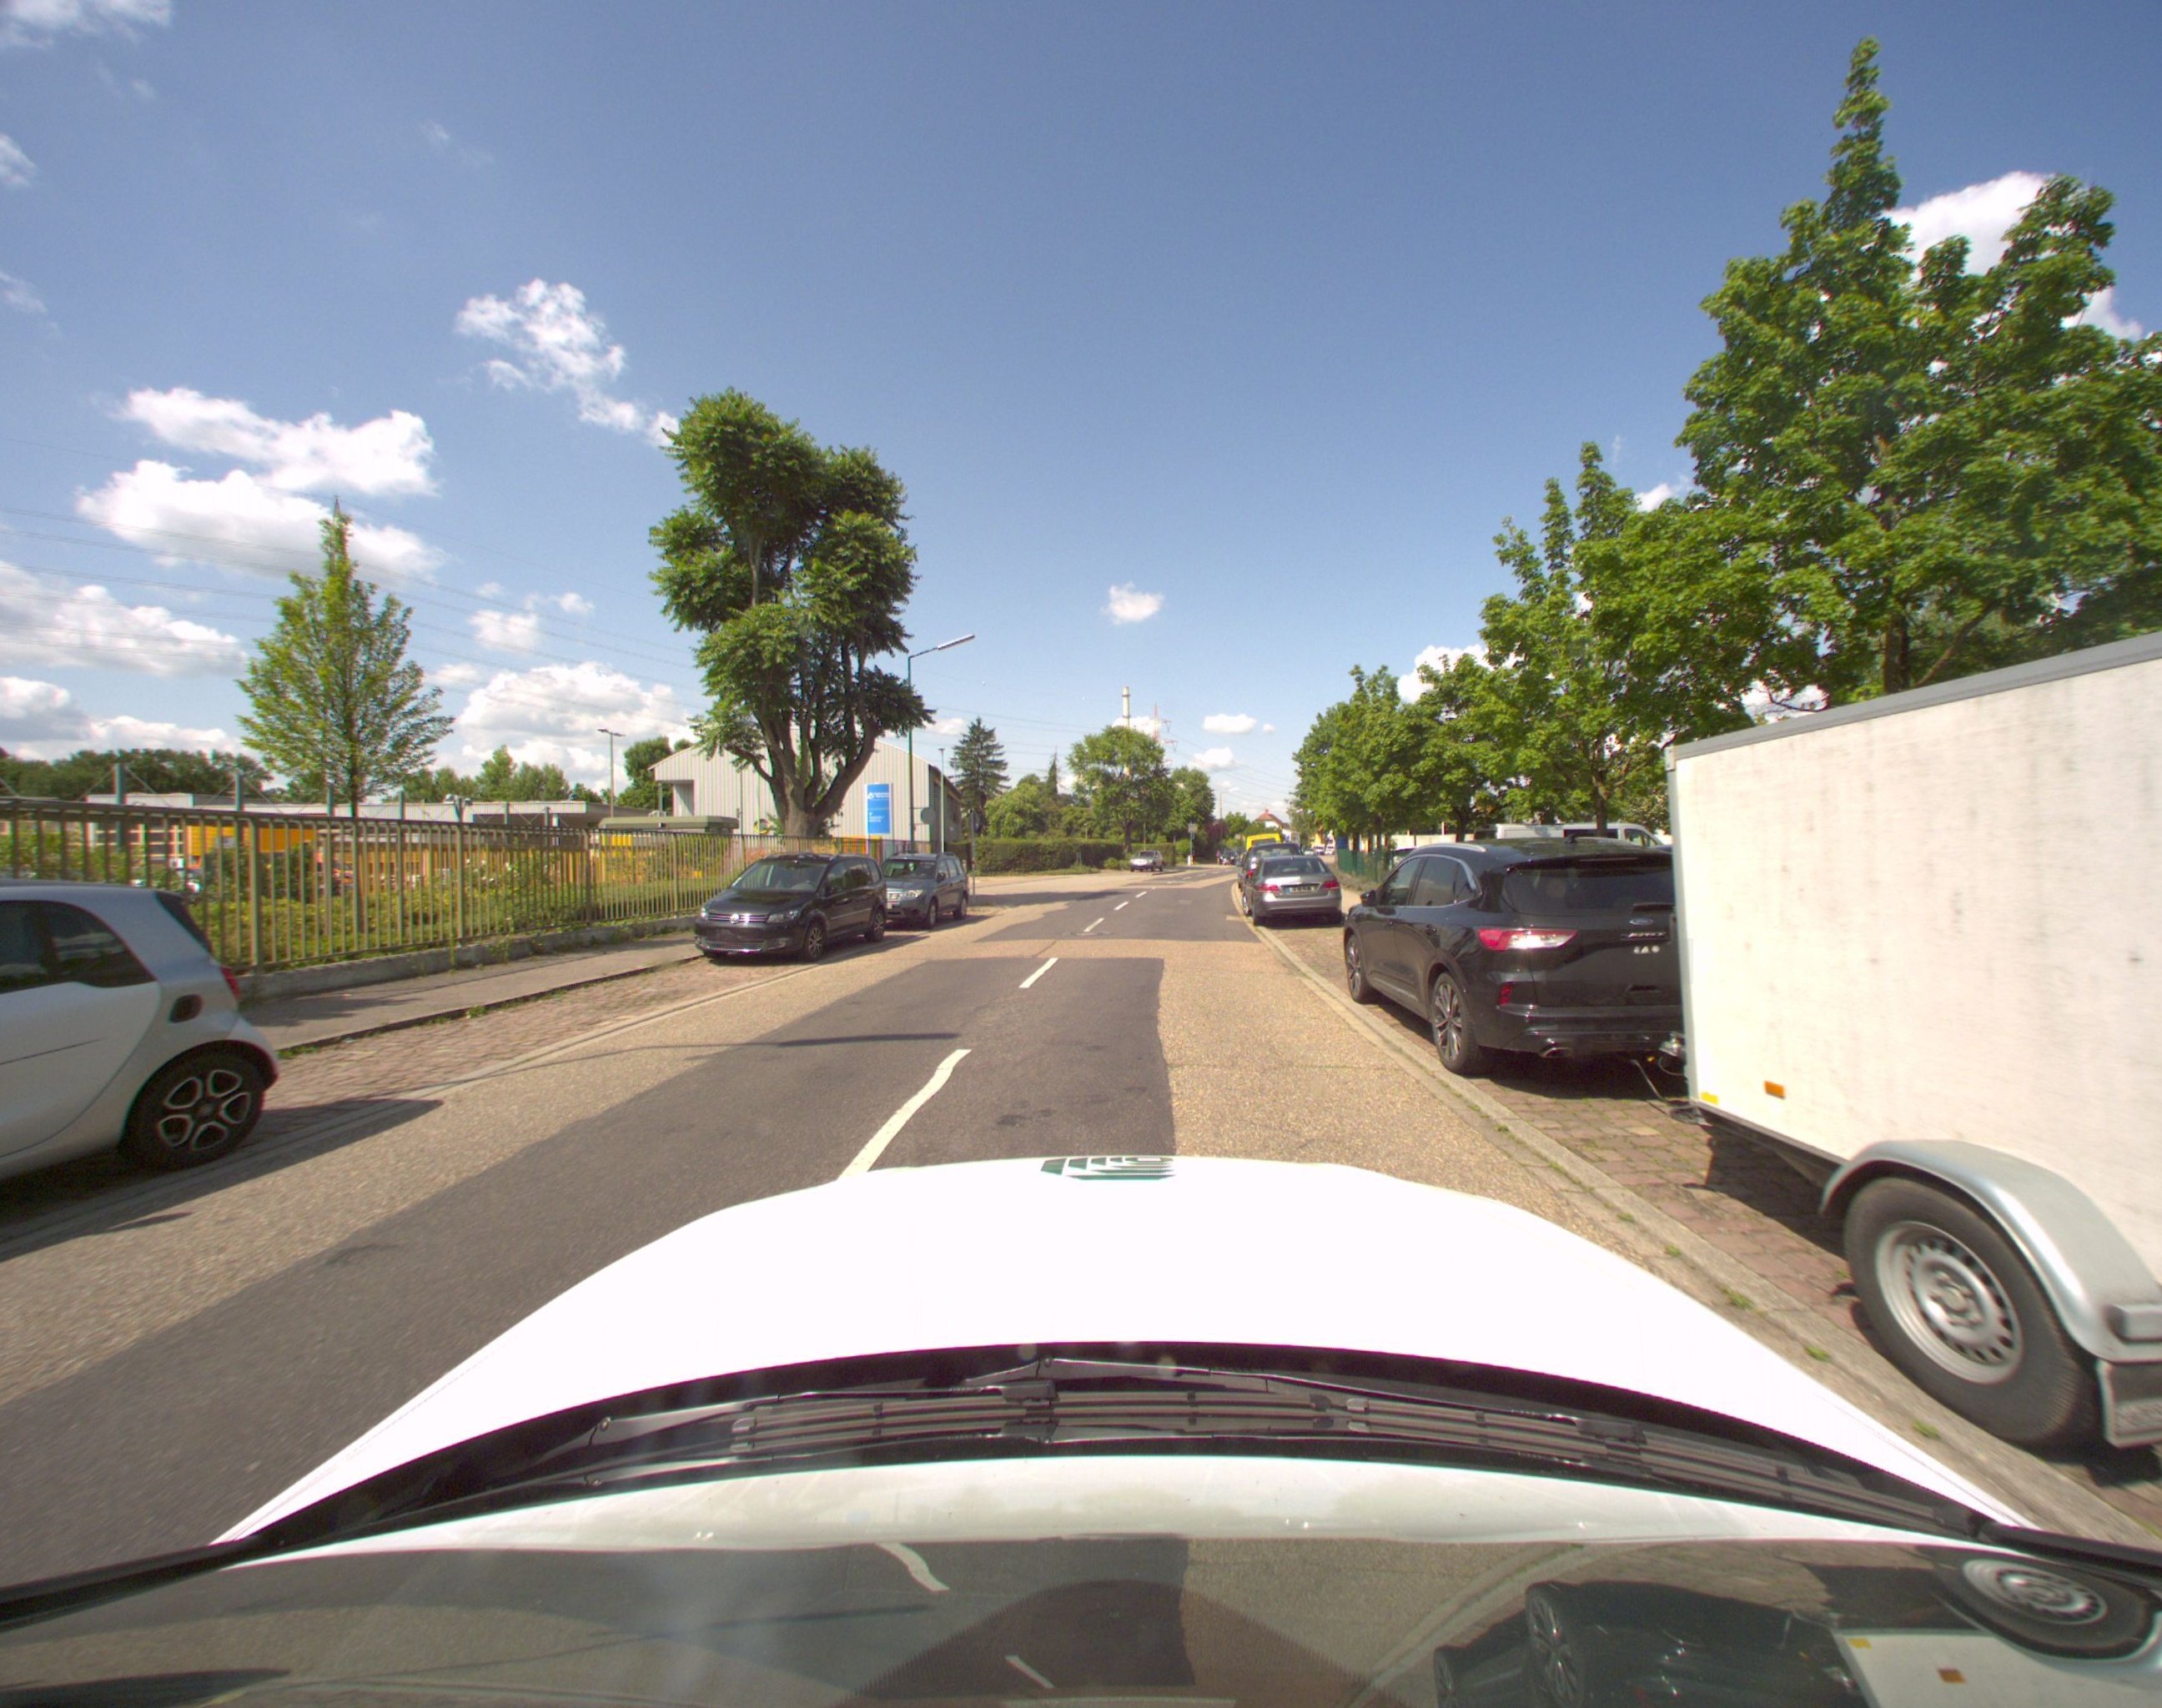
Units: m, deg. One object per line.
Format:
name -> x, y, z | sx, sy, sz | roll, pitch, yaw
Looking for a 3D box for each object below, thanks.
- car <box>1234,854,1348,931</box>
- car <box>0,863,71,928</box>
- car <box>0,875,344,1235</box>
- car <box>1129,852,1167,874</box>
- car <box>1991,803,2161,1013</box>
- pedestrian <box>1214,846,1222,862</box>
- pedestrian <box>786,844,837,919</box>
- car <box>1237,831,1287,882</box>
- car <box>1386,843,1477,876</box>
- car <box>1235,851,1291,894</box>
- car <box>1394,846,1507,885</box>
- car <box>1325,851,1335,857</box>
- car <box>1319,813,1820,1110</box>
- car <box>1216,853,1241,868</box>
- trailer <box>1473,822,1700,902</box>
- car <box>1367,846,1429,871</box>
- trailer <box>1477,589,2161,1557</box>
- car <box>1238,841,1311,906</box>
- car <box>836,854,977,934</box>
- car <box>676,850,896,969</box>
car -> 4.652, 0.786, 18.712 | 1.832, 1.460, 4.878 | -3, 0, 7
car -> -31.506, 1.134, 22.730 | 4.054, 1.726, 1.756 | 1, 0, -6
car -> -5.491, 0.896, 3.574 | 1.601, 1.523, 3.077 | -1, 0, 3
car -> 4.956, 0.644, 59.852 | 1.743, 1.574, 4.498 | 0, 0, 18
car -> 12.394, 0.428, 8.019 | 4.447, 1.966, 2.003 | -2, 1, 4
pedestrian -> 15.895, 0.045, 94.242 | 0.702, 1.801, 0.921 | -1, -1, 22
pedestrian -> -6.539, 0.644, 19.770 | 0.822, 1.761, 0.848 | 1, 0, 13
car -> 9.802, 0.157, 43.719 | 2.141, 2.465, 6.667 | -2, -1, 16
car -> 19.162, 0.301, 44.681 | 4.290, 1.621, 1.768 | -2, -1, 9
car -> 7.067, 0.684, 32.042 | 1.821, 1.492, 4.668 | -3, -1, 9
car -> 16.558, 0.496, 36.654 | 4.300, 1.671, 1.862 | 1, 0, 9
car -> 61.675, -0.018, 201.706 | 1.780, 1.397, 4.526 | 1, 0, 23
car -> 3.578, 0.653, 7.205 | 1.852, 1.682, 4.716 | -3, 0, 5
car -> 15.924, 0.644, 87.541 | 1.829, 1.508, 4.021 | 2, 1, 21
trailer -> 14.062, 0.238, 22.958 | 5.019, 2.082, 2.066 | -1, 0, 7
car -> 21.701, 0.325, 55.780 | 3.841, 1.637, 1.920 | -2, -1, 21
trailer -> 3.216, 0.436, 2.925 | 1.738, 2.067, 3.951 | -4, 0, 3
car -> 5.990, 0.559, 25.699 | 1.838, 1.765, 5.091 | -3, -1, 10
car -> -3.923, 0.830, 19.200 | 1.789, 1.651, 4.698 | 0, 0, 7
car -> -4.728, 0.789, 13.807 | 1.766, 1.682, 4.238 | 1, 0, 6
